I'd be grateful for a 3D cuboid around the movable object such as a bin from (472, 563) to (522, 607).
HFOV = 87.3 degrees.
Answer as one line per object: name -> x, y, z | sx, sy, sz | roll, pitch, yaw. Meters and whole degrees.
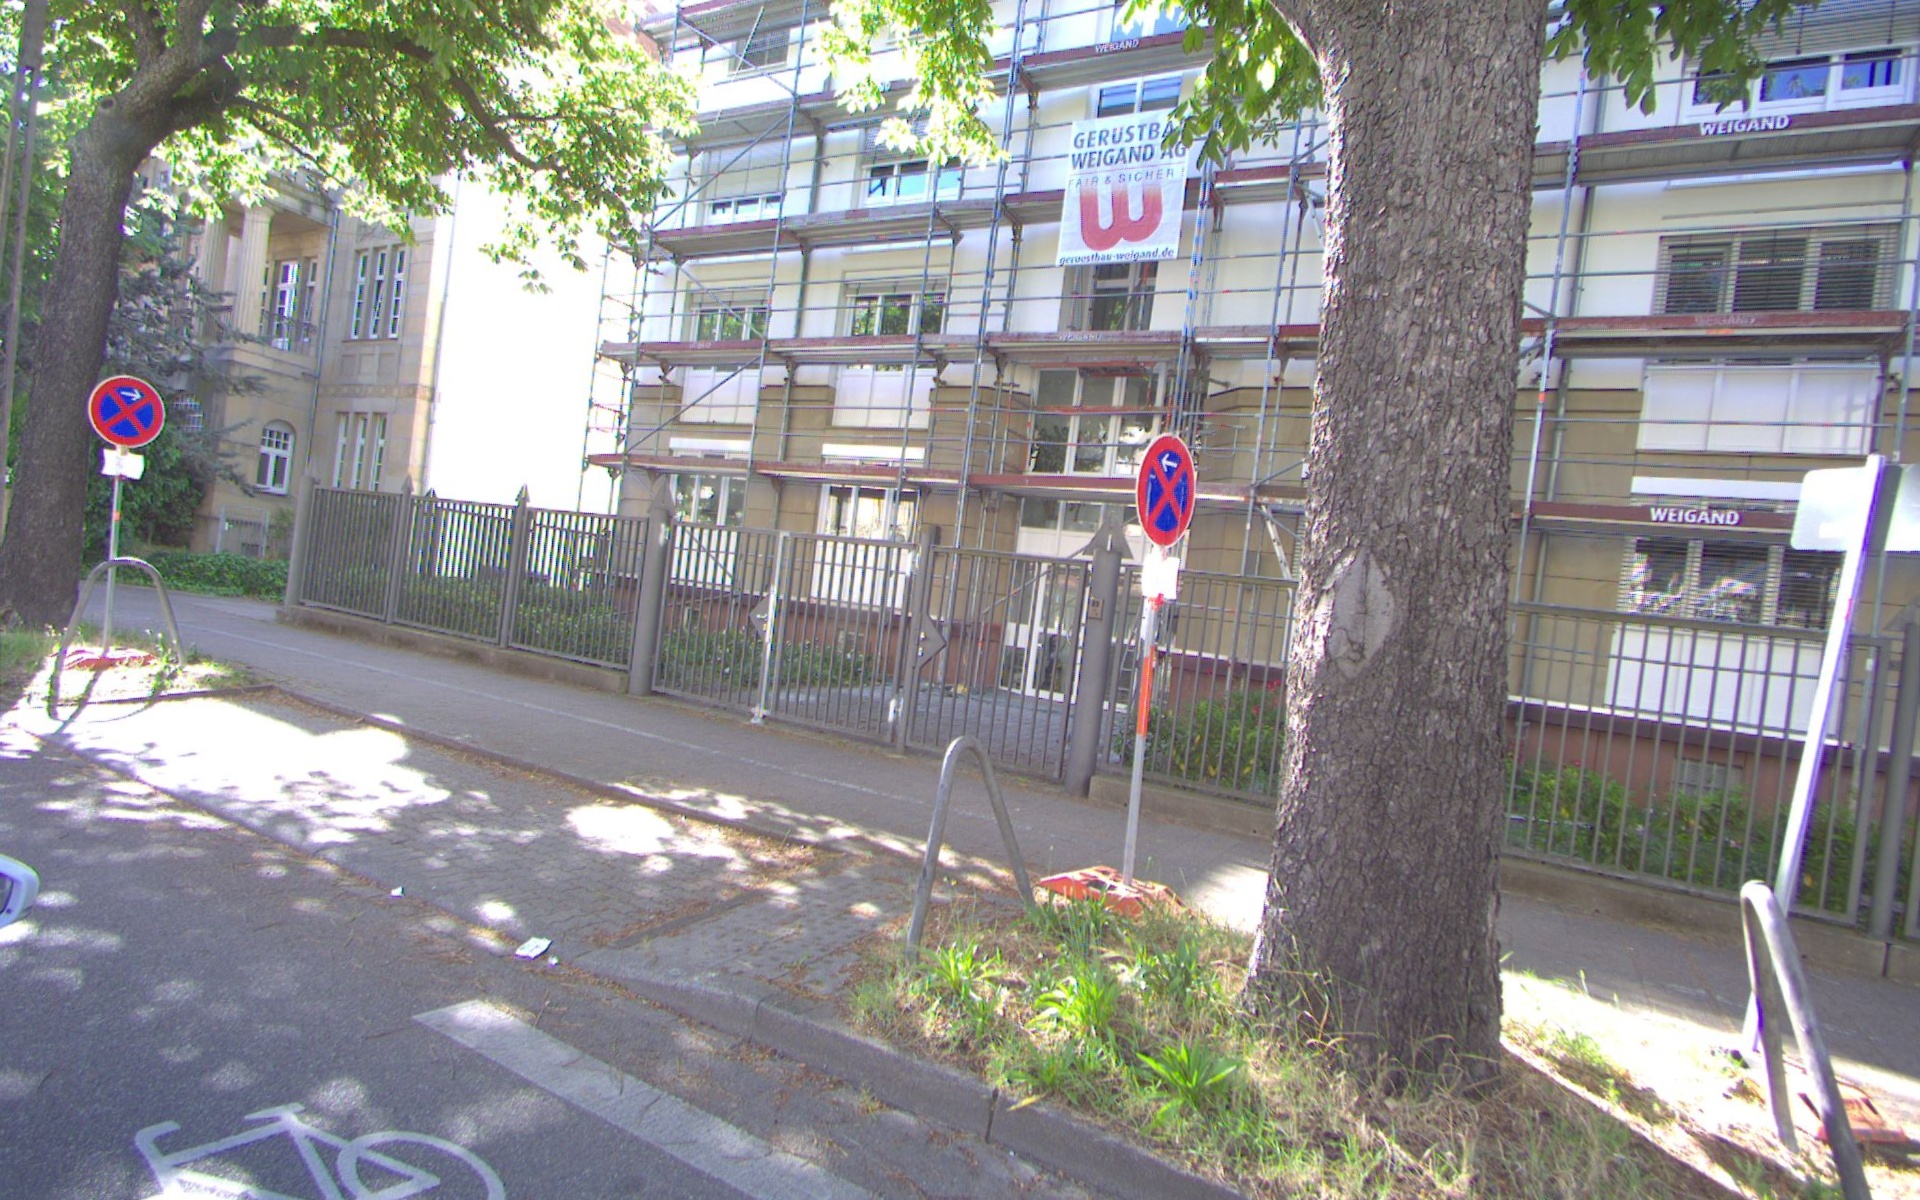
movable object such as a bin -> -11.716, -0.370, 25.442 | 0.637, 0.966, 0.835 | 6, -2, 30
